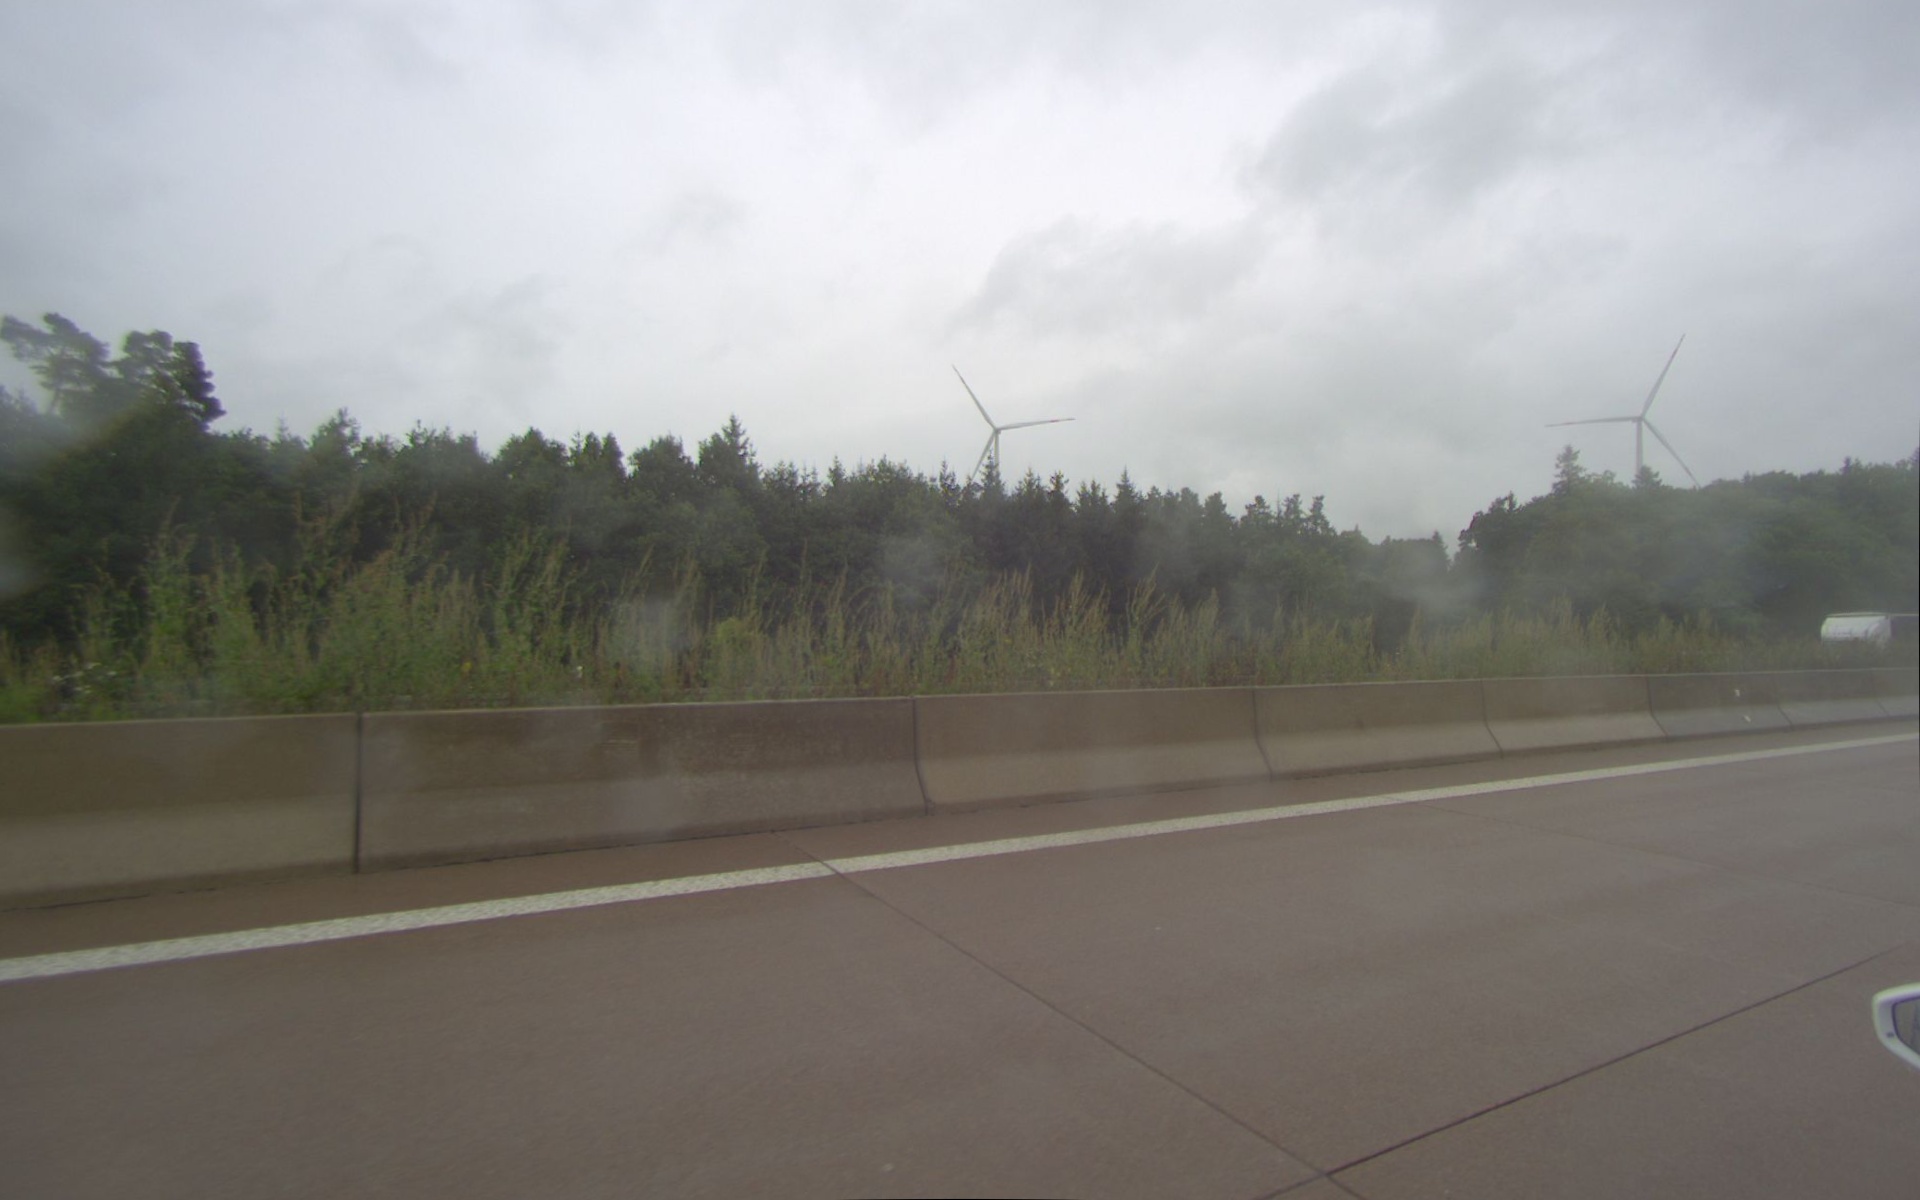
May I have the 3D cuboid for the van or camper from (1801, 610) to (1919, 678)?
[{"bbox_3d":[42.915,2.045,47.856,5.364,3.040,2.472,1,0,-27],"label":"van or camper"}]
